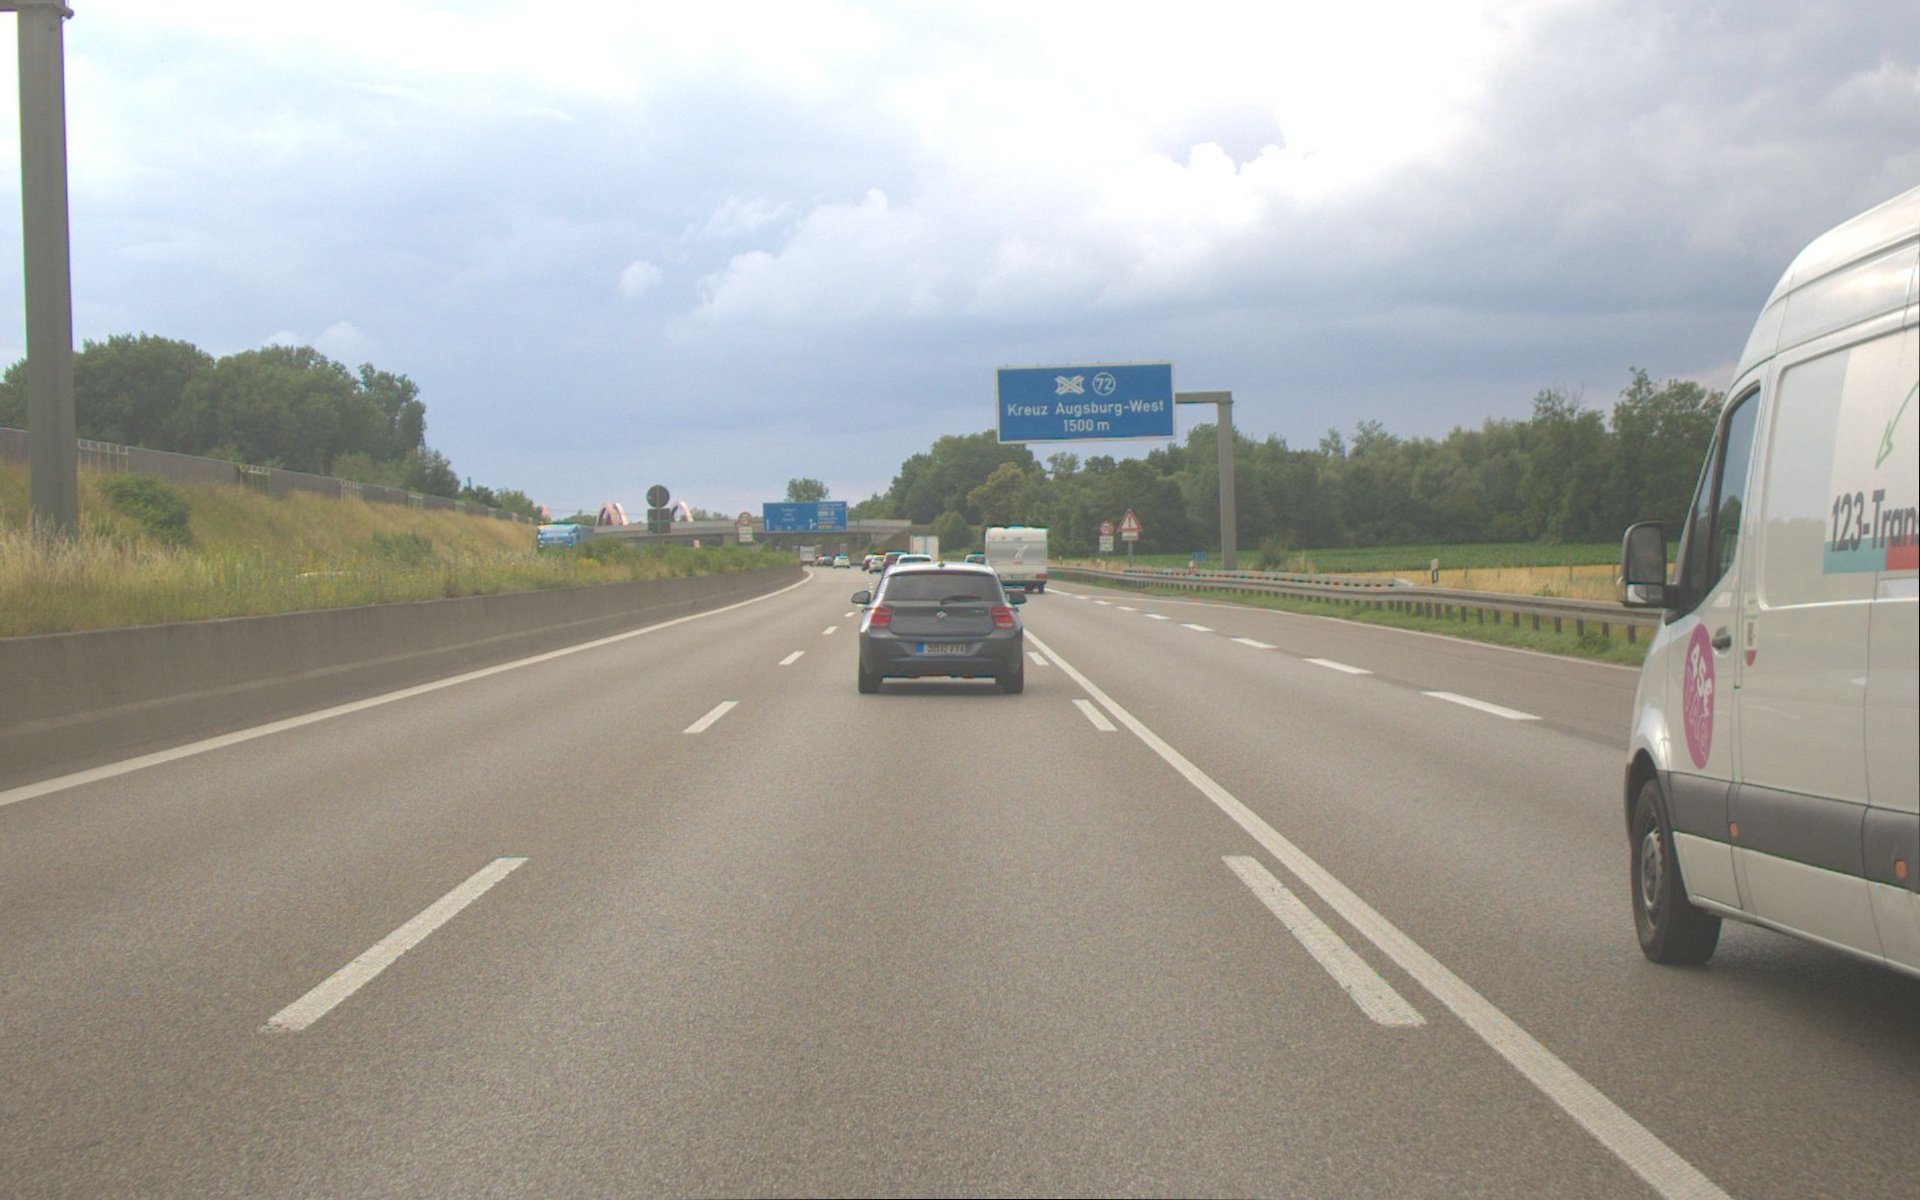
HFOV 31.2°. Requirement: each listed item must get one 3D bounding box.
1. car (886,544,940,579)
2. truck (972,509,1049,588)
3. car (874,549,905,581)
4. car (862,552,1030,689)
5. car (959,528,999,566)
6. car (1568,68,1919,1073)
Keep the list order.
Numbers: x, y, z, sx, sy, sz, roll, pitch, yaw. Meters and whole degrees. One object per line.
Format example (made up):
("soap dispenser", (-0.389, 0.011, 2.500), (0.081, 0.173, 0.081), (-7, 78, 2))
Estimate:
("car", (-1.805, -1.474, 130.635), (1.993, 1.293, 4.000), (-1, 1, -1))
("truck", (1.927, -2.047, 136.628), (2.710, 2.954, 12.448), (1, 1, -1))
("car", (-4.581, -2.308, 224.315), (1.993, 2.007, 4.000), (-1, 1, -1))
("car", (-0.158, 0.186, 37.701), (1.743, 1.384, 4.000), (0, 1, 0))
("car", (1.012, -2.854, 184.660), (1.993, 2.007, 4.000), (-1, 1, -1))
("car", (3.548, -0.112, 10.578), (2.221, 2.559, 6.256), (0, 1, 0))
